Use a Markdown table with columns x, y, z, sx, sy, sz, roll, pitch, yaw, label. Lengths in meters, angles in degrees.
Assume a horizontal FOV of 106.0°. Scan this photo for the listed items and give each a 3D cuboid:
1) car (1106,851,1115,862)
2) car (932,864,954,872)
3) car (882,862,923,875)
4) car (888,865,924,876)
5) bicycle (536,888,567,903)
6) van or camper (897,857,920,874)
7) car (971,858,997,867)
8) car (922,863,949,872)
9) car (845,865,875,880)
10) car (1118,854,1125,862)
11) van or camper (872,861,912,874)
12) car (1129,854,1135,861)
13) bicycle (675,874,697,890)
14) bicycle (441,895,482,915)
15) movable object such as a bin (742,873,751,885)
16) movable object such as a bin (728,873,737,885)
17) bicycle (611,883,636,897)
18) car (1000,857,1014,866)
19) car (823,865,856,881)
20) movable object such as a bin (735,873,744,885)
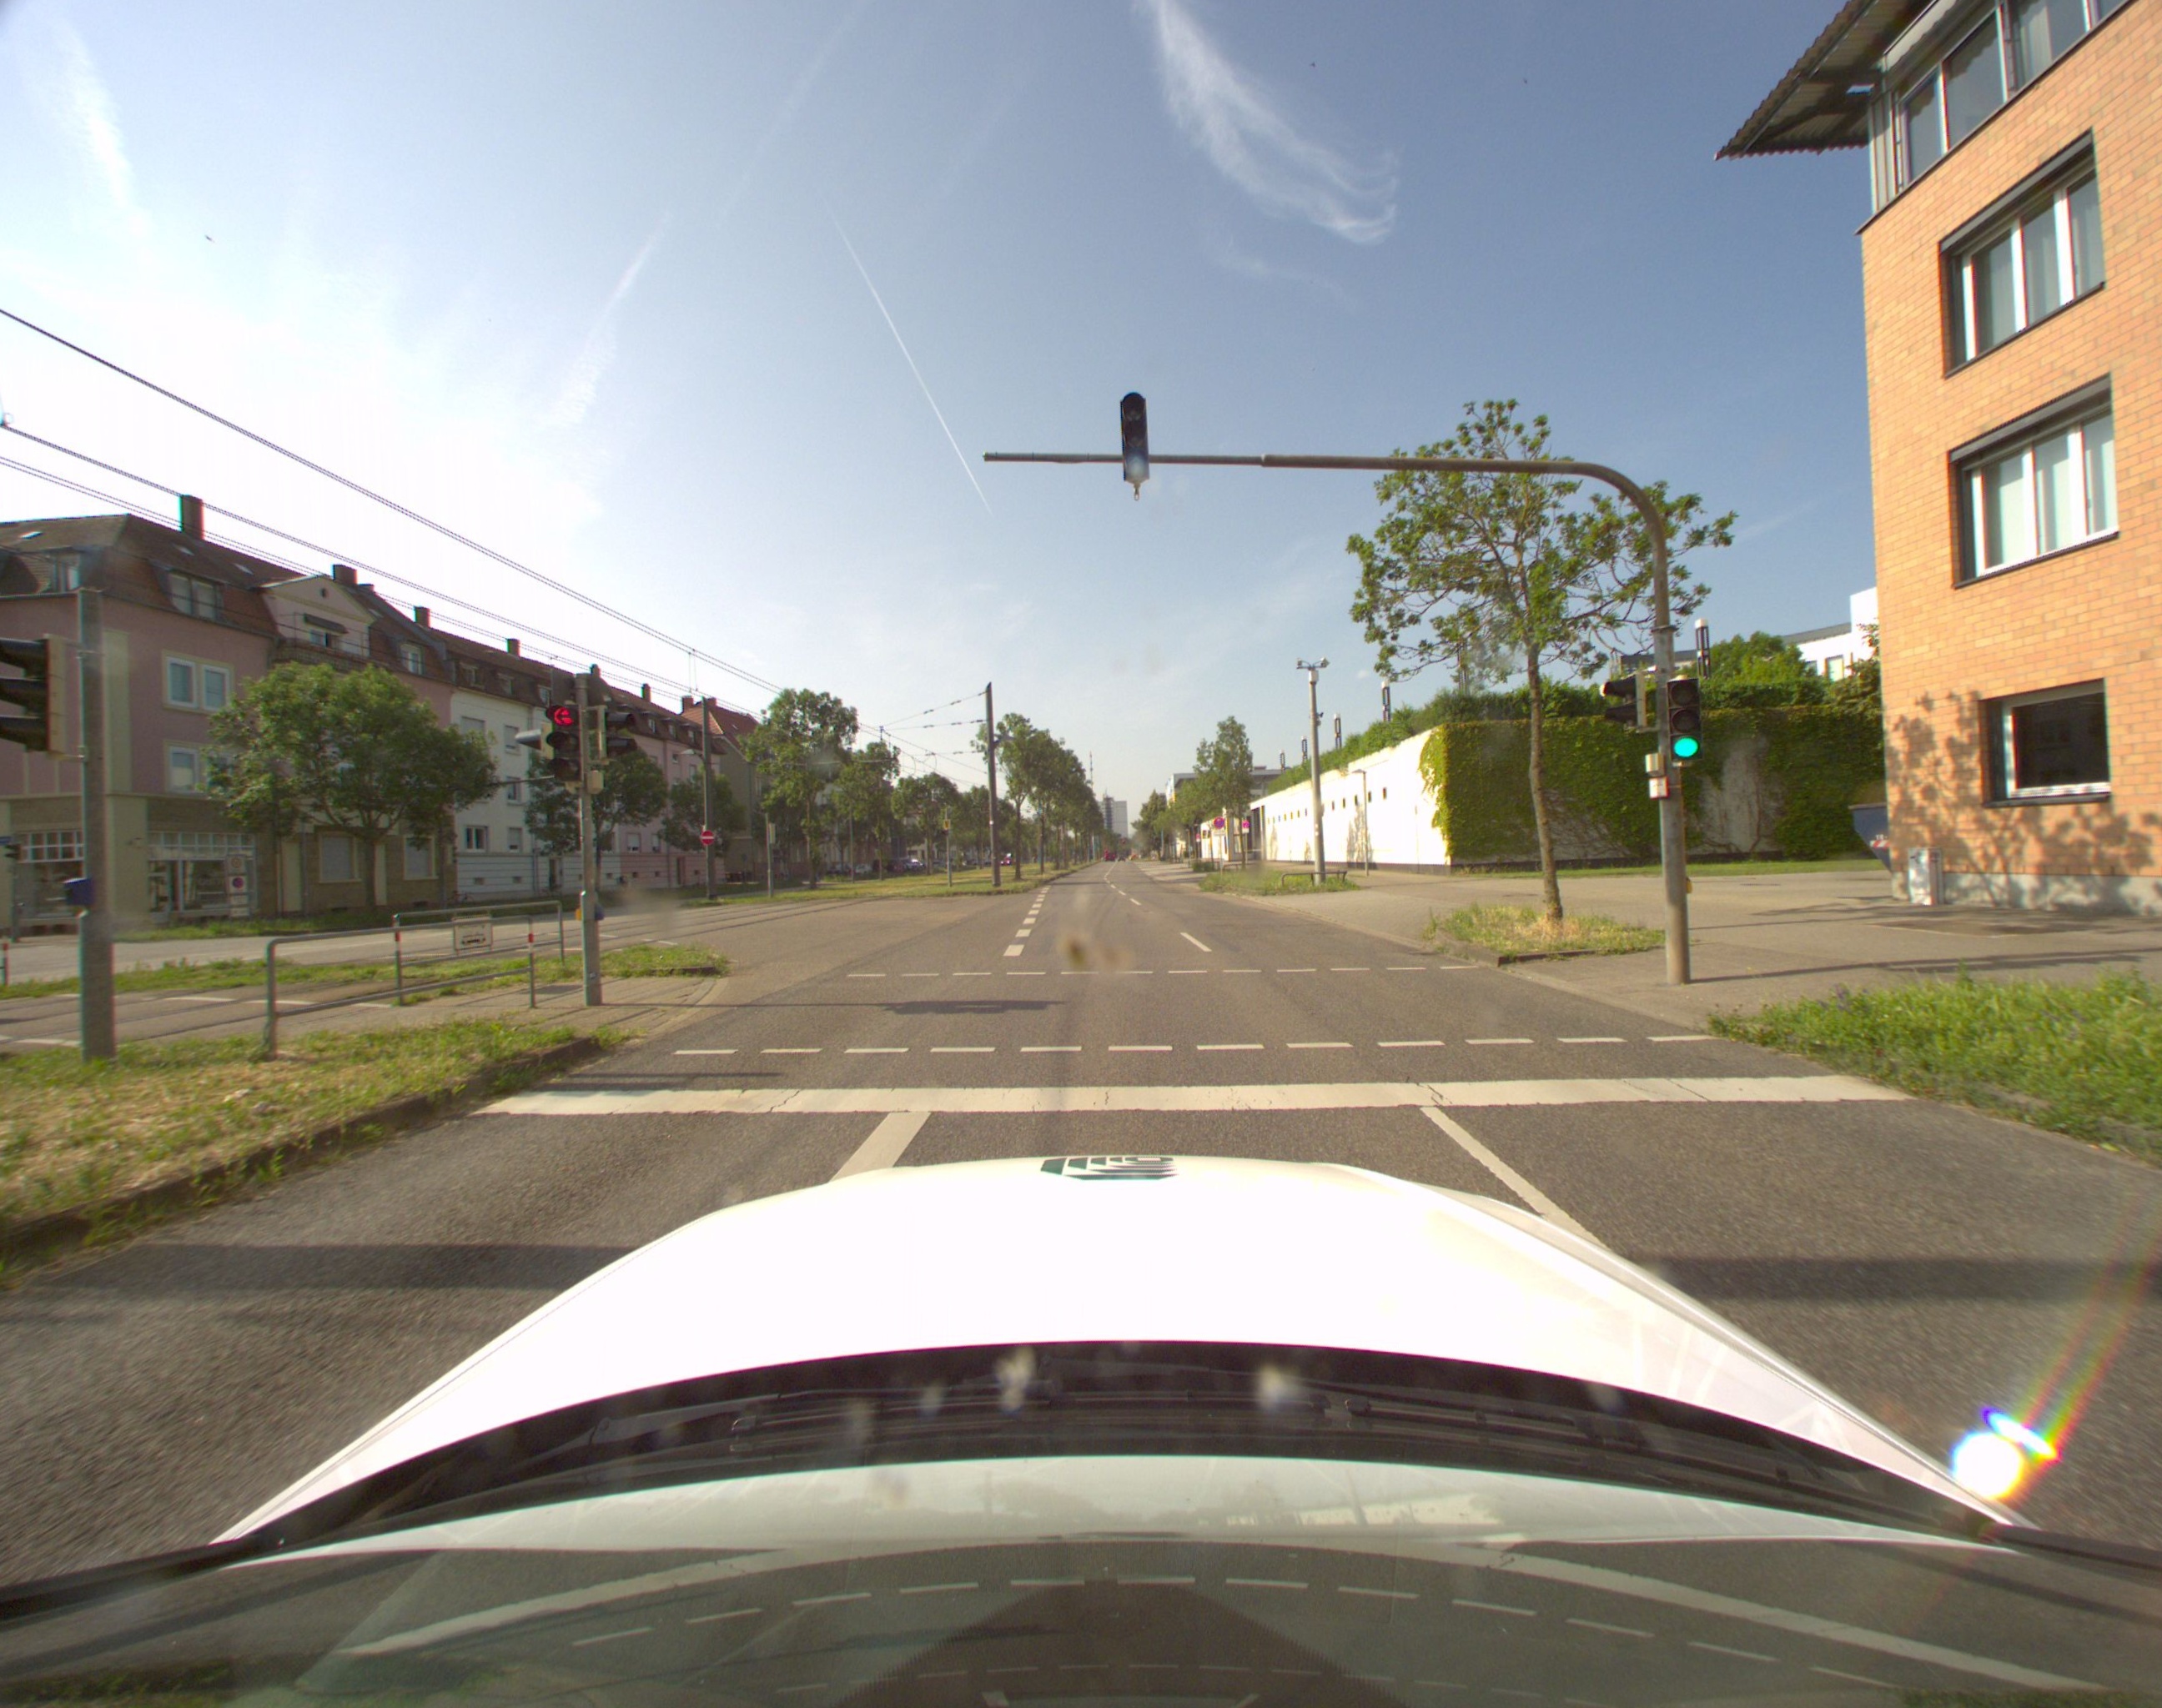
| x | y | z | sx | sy | sz | roll | pitch | yaw | label |
| --- | --- | --- | --- | --- | --- | --- | --- | --- | --- |
| 5.568 | 0.492 | 153.615 | 1.740 | 2.014 | 3.219 | 0 | -1 | 4 | car |
| -21.058 | 2.154 | 124.531 | 3.123 | 1.161 | 1.506 | -1 | -1 | 35 | car |
| -22.316 | 1.815 | 101.798 | 5.154 | 1.623 | 2.070 | -1 | -1 | 33 | car |
| -22.464 | 2.113 | 104.628 | 4.419 | 1.419 | 1.988 | -1 | -1 | 35 | car |
| -30.249 | 2.361 | 46.577 | 0.435 | 0.789 | 1.948 | 0 | -1 | 2 | bicycle |
| -27.738 | 1.858 | 131.310 | 2.031 | 2.567 | 6.360 | 0 | -1 | 2 | van or camper |
| -19.492 | 1.781 | 163.979 | 5.258 | 1.738 | 2.013 | -1 | -1 | 36 | car |
| -21.046 | 1.943 | 117.937 | 3.948 | 1.417 | 1.587 | -1 | -1 | 37 | car |
| -24.859 | 2.108 | 91.875 | 1.880 | 1.628 | 4.162 | 0 | 0 | 6 | car |
| 10.845 | 1.109 | 216.622 | 1.740 | 2.014 | 3.219 | 0 | -1 | 4 | car |
| -23.060 | 1.616 | 99.252 | 4.787 | 1.623 | 2.015 | -1 | -1 | 35 | van or camper |
| 13.886 | 0.948 | 221.315 | 1.740 | 1.650 | 3.219 | 0 | -1 | 4 | car |
| -29.504 | 2.086 | 60.817 | 0.601 | 1.128 | 1.948 | 0 | -1 | 2 | bicycle |
| -30.467 | 2.489 | 40.107 | 0.466 | 0.889 | 1.948 | 0 | -1 | 2 | bicycle |
| -33.115 | 2.455 | 80.711 | 0.583 | 1.211 | 0.640 | 0 | -1 | 1 | movable object such as a bin |
| -34.477 | 2.456 | 80.668 | 0.583 | 1.211 | 0.640 | 0 | -1 | 1 | movable object such as a bin |
| -29.903 | 2.338 | 53.272 | 0.446 | 0.857 | 1.948 | 0 | -1 | 2 | bicycle |
| -14.367 | 1.541 | 158.042 | 1.954 | 1.694 | 4.305 | 0 | -1 | 7 | car |
| -25.355 | 1.993 | 85.632 | 1.986 | 1.628 | 4.776 | 0 | 0 | 1 | car |
| -33.852 | 2.455 | 80.634 | 0.583 | 1.211 | 0.640 | 0 | -1 | 1 | movable object such as a bin |
